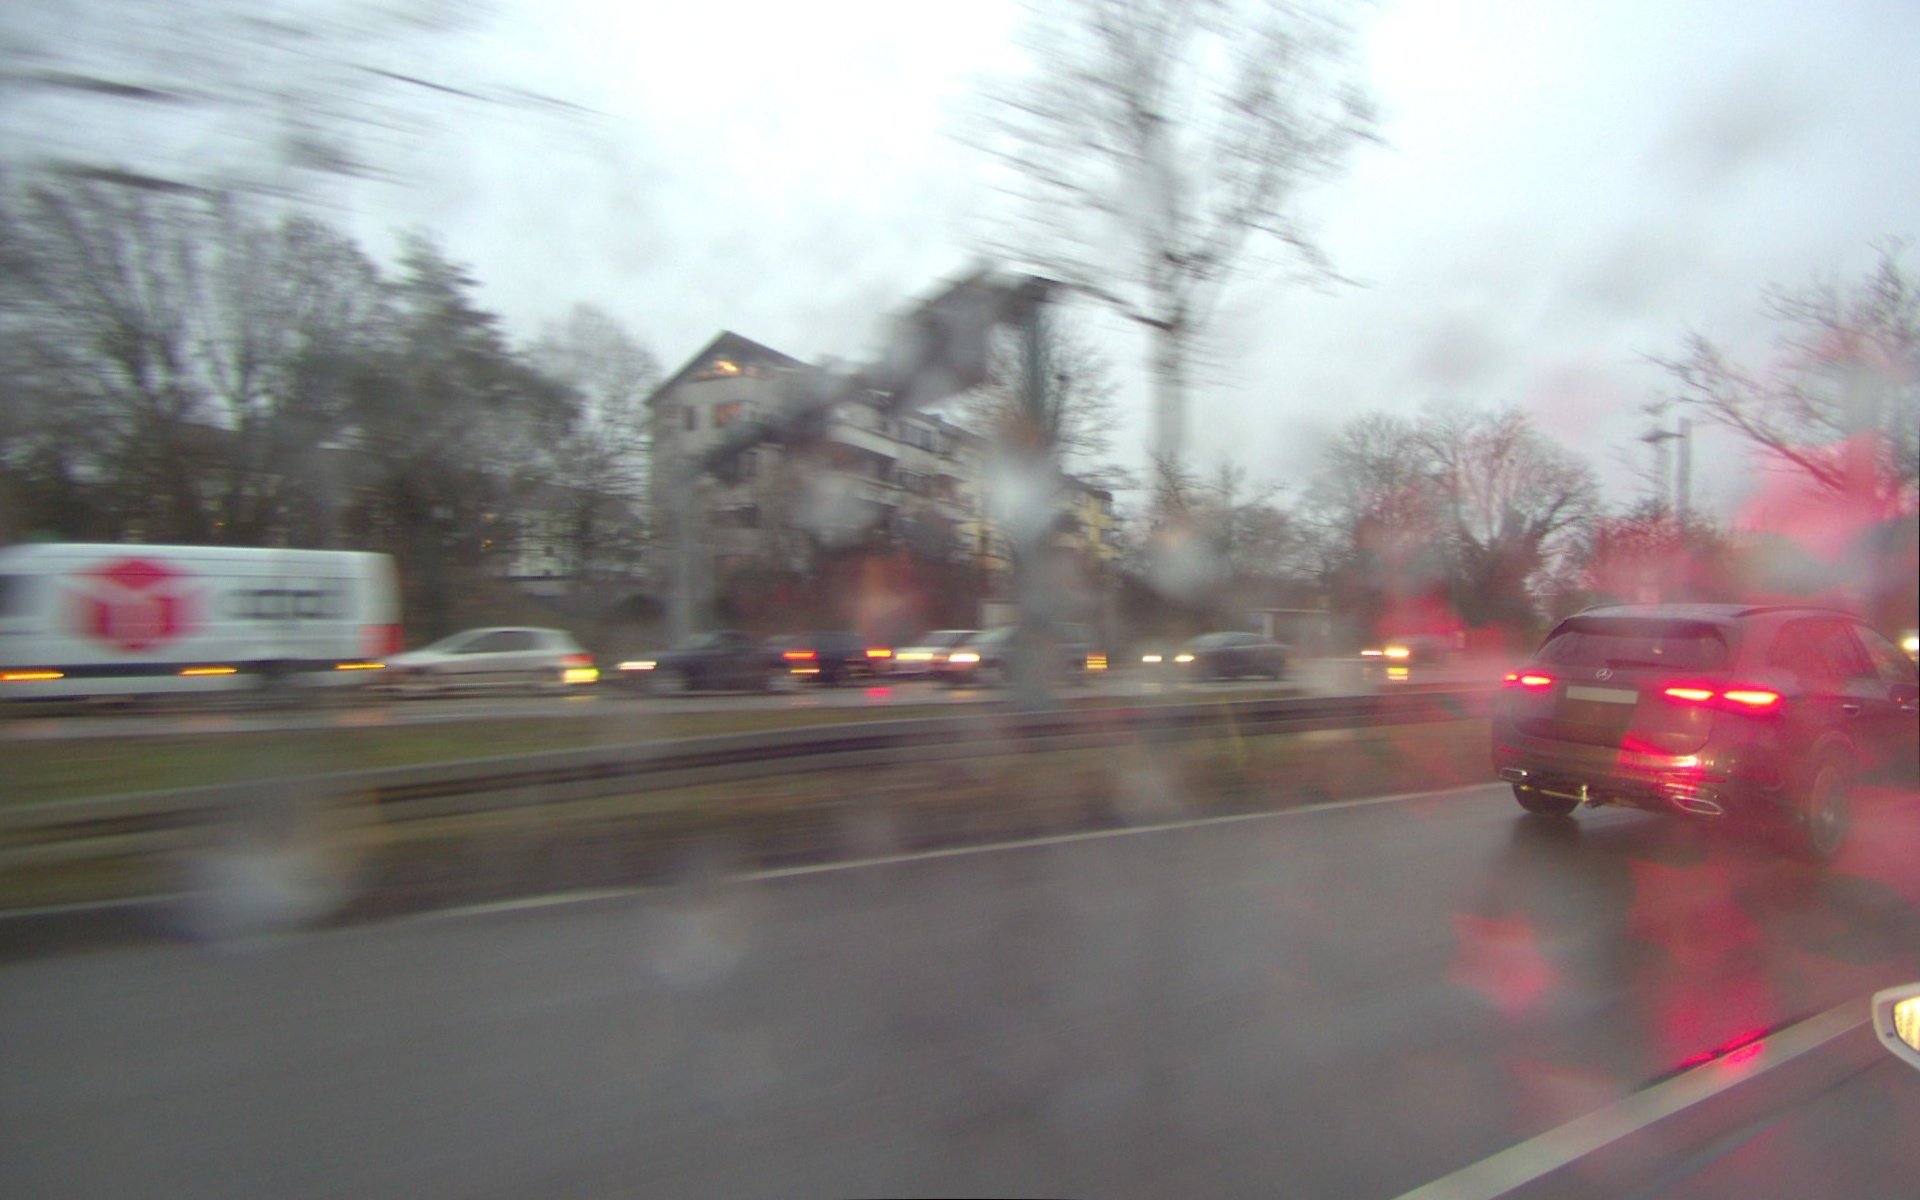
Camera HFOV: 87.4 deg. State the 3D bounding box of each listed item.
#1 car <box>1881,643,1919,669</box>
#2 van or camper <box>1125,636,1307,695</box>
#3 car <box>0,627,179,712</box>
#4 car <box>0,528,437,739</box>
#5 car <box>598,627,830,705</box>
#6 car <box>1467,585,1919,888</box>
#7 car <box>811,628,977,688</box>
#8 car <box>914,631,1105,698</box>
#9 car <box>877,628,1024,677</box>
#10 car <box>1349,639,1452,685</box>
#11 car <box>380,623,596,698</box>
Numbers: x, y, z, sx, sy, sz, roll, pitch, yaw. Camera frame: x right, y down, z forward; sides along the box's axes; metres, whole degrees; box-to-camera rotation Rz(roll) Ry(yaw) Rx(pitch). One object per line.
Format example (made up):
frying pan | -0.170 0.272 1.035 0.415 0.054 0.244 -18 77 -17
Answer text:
car | 51.001 2.957 53.532 4.266 1.325 1.743 1 -1 -31
van or camper | 7.193 1.795 28.058 5.099 1.465 1.894 2 -1 -31
car | -16.421 1.199 17.705 3.955 1.416 1.747 2 -2 -32
car | -12.762 0.552 16.491 7.259 3.044 2.281 2 -1 -30
car | -5.119 1.342 20.960 4.397 1.465 1.898 2 -1 -27
car | 5.922 0.832 7.507 4.417 1.669 1.813 2 -2 -32
car | -1.742 1.533 27.033 4.124 1.466 1.727 2 -1 -31
car | 1.243 1.542 24.639 4.391 1.465 1.894 2 -1 -31
car | -0.286 1.671 32.393 4.391 1.465 1.894 2 -1 -31
car | 19.534 2.703 44.524 4.373 1.876 1.984 2 -1 -30
car | -10.147 1.272 21.653 4.042 1.465 1.895 2 -1 -31
